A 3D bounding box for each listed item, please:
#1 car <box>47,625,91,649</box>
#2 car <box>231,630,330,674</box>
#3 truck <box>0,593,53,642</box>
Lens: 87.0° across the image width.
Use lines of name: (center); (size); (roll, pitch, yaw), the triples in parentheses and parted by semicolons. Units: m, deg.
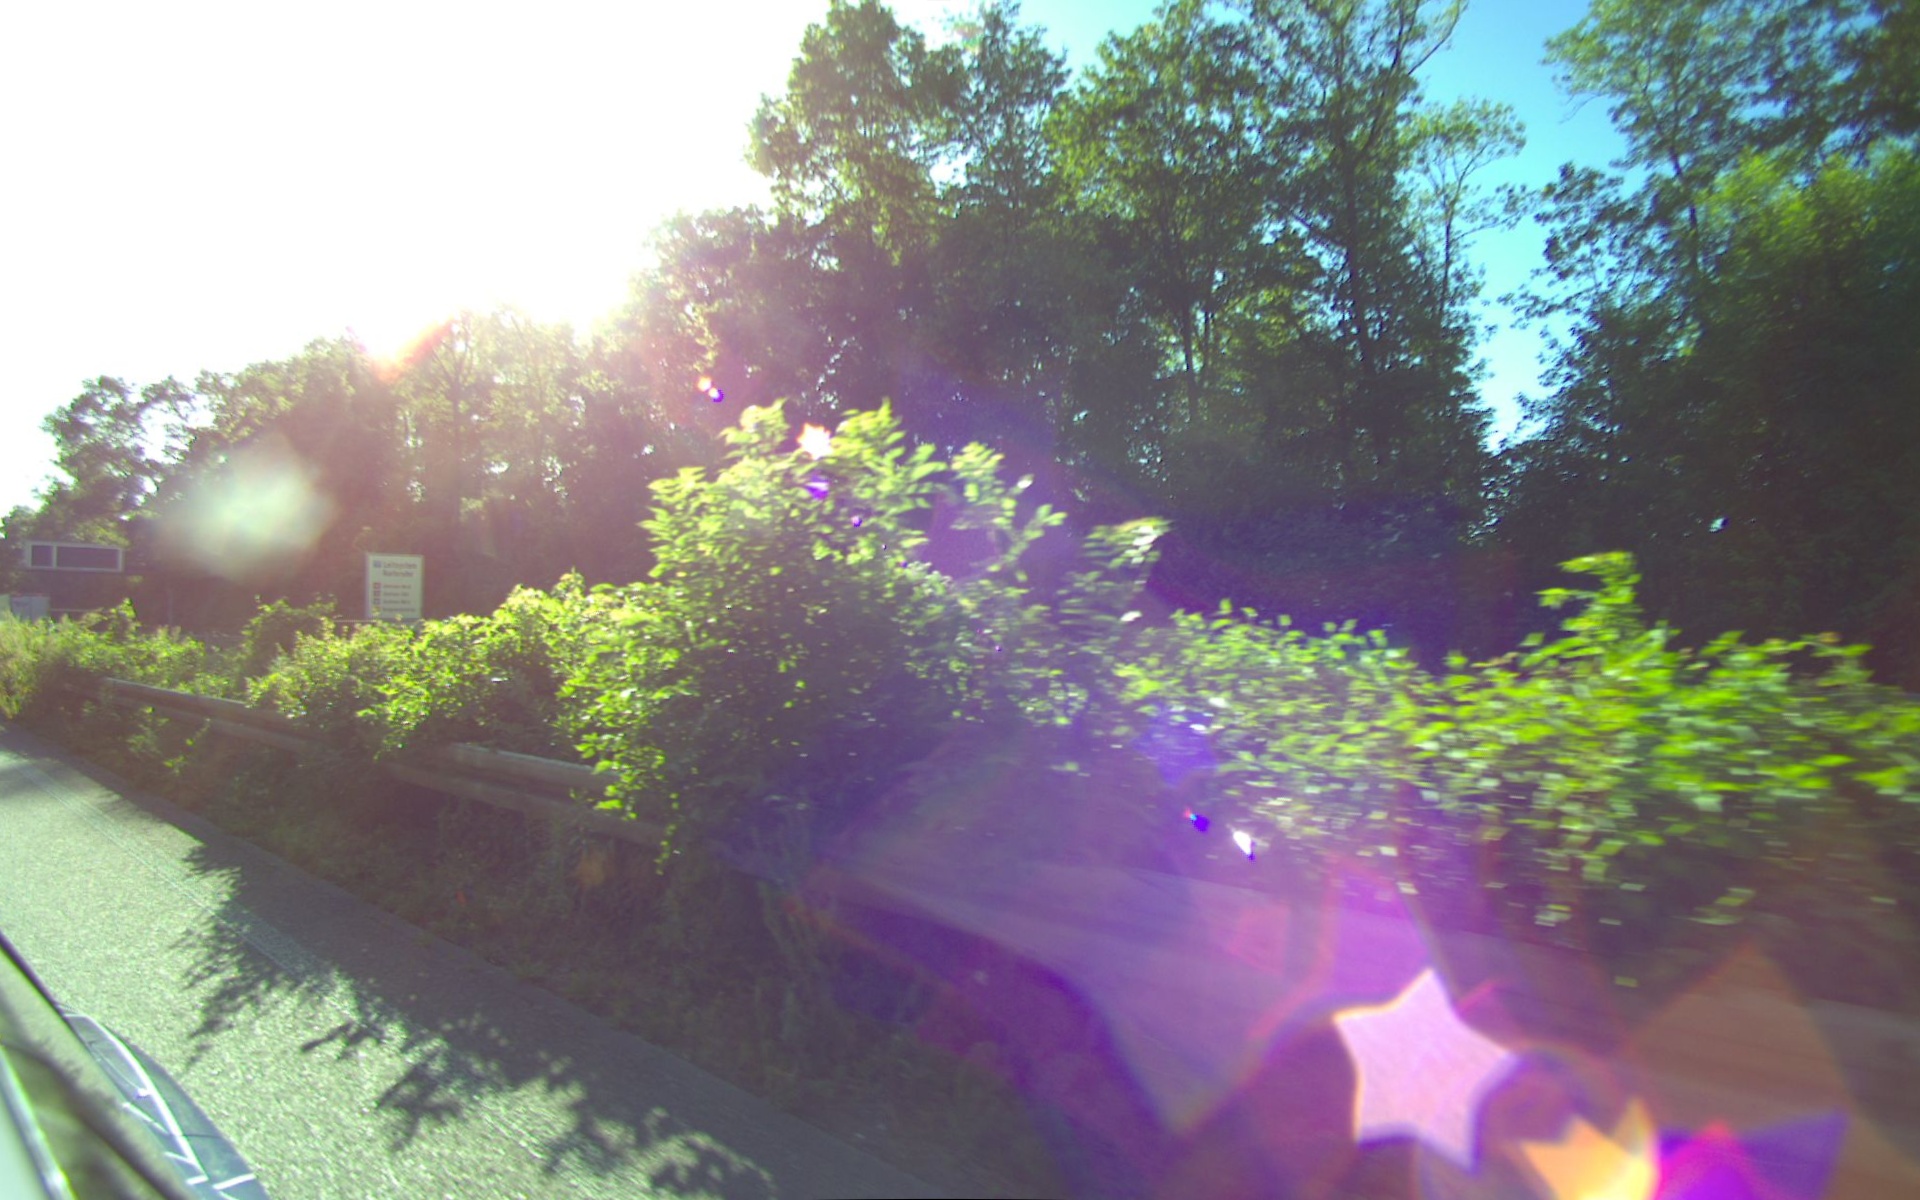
car: (-59.899, 2.459, 68.043); (3.791, 1.484, 1.745); (-1, 0, 41)
car: (-25.185, 1.879, 37.441); (4.507, 1.434, 1.973); (-1, 0, 41)
truck: (-82.752, 1.556, 88.674); (14.444, 4.043, 3.210); (-2, -1, 41)
